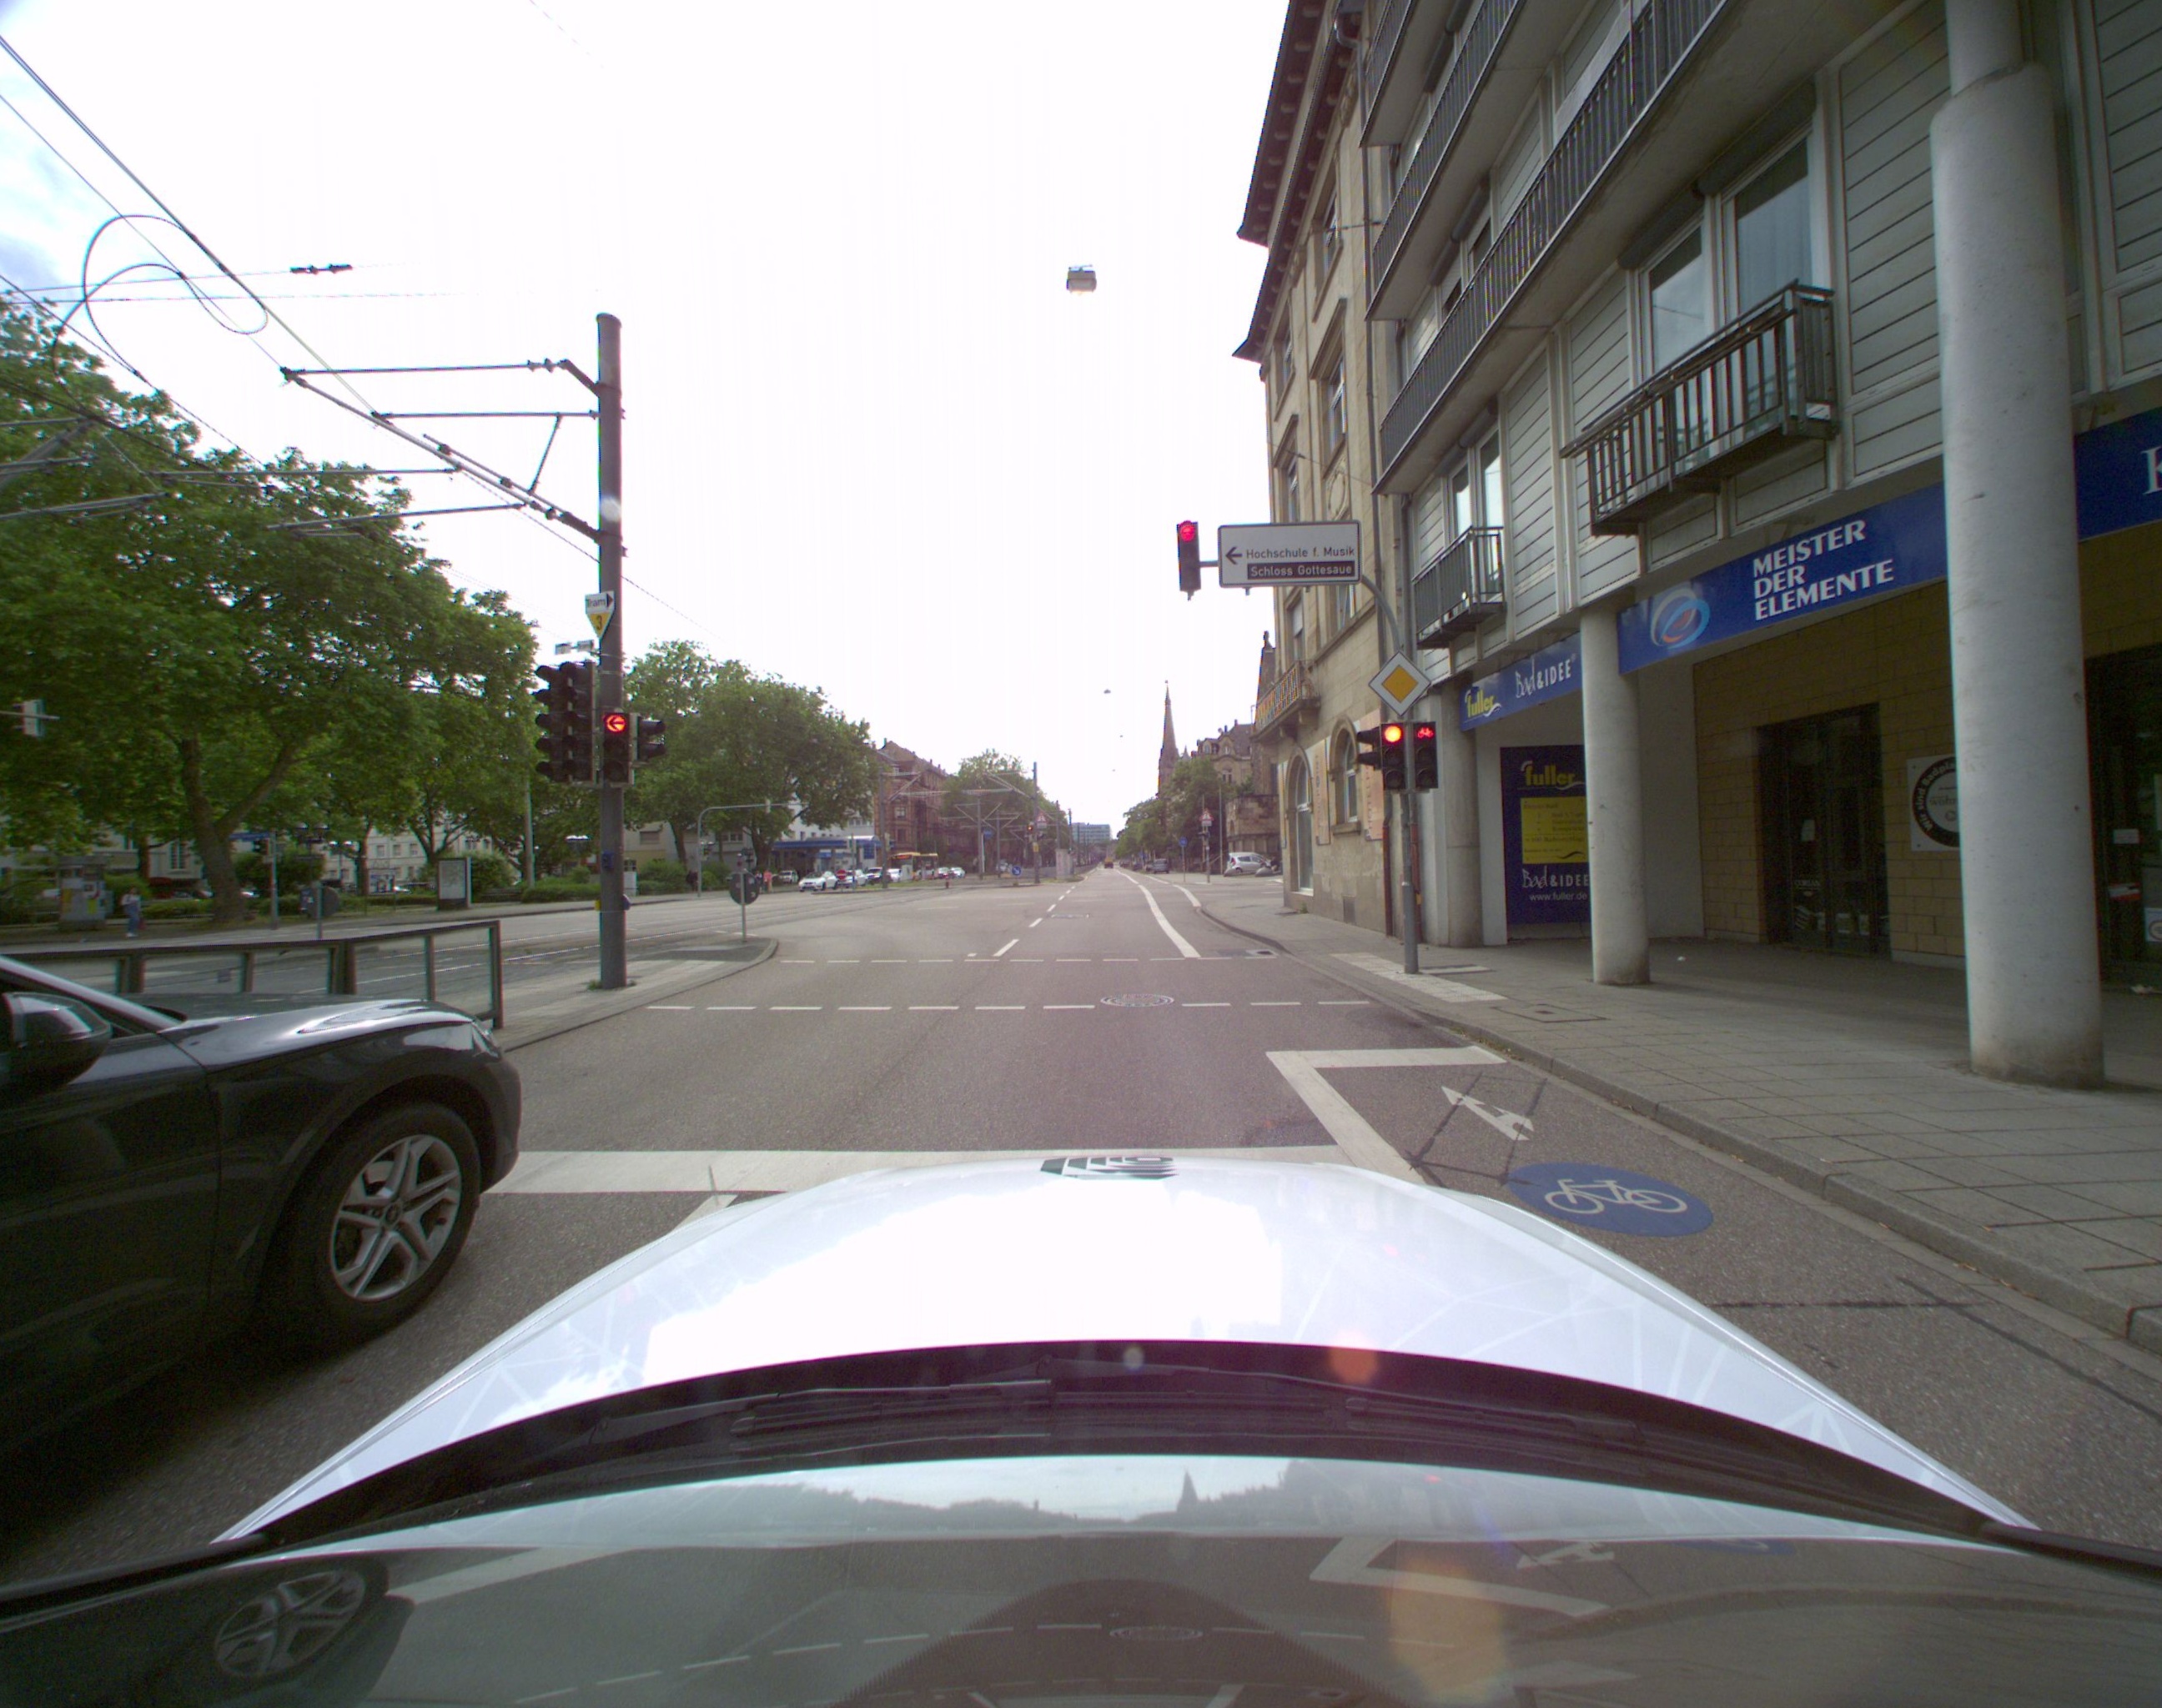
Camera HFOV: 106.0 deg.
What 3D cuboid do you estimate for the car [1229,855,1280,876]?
[{"bbox_3d":[13.745,0.911,64.779,3.699,1.563,2.001,0,-1,2],"label":"car"}]

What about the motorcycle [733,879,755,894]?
[{"bbox_3d":[-22.741,2.181,54.993,0.604,0.928,1.953,-2,-1,2],"label":"motorcycle"}]

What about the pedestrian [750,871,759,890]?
[{"bbox_3d":[-26.314,2.121,65.646,0.474,1.459,0.426,-2,-1,1],"label":"pedestrian"}]

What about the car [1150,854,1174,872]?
[{"bbox_3d":[8.969,0.993,89.963,1.979,1.855,4.042,-1,-1,14],"label":"car"}]

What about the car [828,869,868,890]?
[{"bbox_3d":[-18.848,2.059,66.087,1.986,1.594,4.001,0,-1,2],"label":"car"}]

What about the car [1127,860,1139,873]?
[{"bbox_3d":[8.685,2.059,135.990,1.986,2.014,4.001,0,-1,2],"label":"car"}]

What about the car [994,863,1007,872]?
[{"bbox_3d":[-14.797,2.450,149.912,1.986,1.610,4.001,0,-1,2],"label":"car"}]

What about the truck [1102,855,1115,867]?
[{"bbox_3d":[7.097,1.811,210.763,3.042,2.769,9.826,-2,0,4],"label":"truck"}]

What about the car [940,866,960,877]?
[{"bbox_3d":[-16.537,2.195,102.788,1.649,1.321,3.641,0,-1,3],"label":"car"}]

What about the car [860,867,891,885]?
[{"bbox_3d":[-18.334,1.932,72.731,1.649,1.478,3.641,0,-1,3],"label":"car"}]

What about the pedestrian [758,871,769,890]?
[{"bbox_3d":[-25.666,2.138,65.909,0.645,1.479,0.557,-2,-1,1],"label":"pedestrian"}]

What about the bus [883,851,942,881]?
[{"bbox_3d":[-18.304,1.303,89.729,3.217,3.035,12.323,0,0,4],"label":"bus"}]

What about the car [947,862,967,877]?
[{"bbox_3d":[-16.753,2.066,110.200,1.986,2.014,4.001,0,-1,2],"label":"car"}]

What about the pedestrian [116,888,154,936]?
[{"bbox_3d":[-30.983,1.883,26.670,0.674,1.510,0.661,-2,-1,28],"label":"pedestrian"}]

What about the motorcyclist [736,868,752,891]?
[{"bbox_3d":[-22.744,1.704,54.940,0.617,1.520,0.874,-1,-1,2],"label":"motorcyclist"}]

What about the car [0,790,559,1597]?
[{"bbox_3d":[-3.074,0.691,1.241,1.727,1.637,4.228,0,-1,2],"label":"car"}]

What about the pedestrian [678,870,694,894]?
[{"bbox_3d":[-28.293,2.006,58.277,0.858,1.713,0.695,-2,-1,38],"label":"pedestrian"}]

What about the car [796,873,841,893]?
[{"bbox_3d":[-19.169,2.079,59.557,1.739,1.321,4.079,0,0,3],"label":"car"}]

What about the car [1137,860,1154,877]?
[{"bbox_3d":[7.887,1.703,99.615,1.985,2.014,4.004,0,-1,4],"label":"car"}]

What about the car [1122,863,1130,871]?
[{"bbox_3d":[11.909,3.380,216.798,1.986,2.014,4.001,0,-1,2],"label":"car"}]

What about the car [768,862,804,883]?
[{"bbox_3d":[-29.609,1.811,81.793,1.986,2.014,4.001,-2,0,2],"label":"car"}]

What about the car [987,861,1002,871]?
[{"bbox_3d":[-15.056,2.068,142.103,1.986,1.610,4.001,0,-1,2],"label":"car"}]

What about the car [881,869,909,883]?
[{"bbox_3d":[-18.163,2.104,79.652,1.649,1.321,3.641,0,-1,3],"label":"car"}]

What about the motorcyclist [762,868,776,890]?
[{"bbox_3d":[-21.425,1.716,55.919,0.617,1.520,0.874,-1,-1,2],"label":"motorcyclist"}]

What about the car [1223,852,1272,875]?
[{"bbox_3d":[13.922,0.794,68.249,3.699,1.855,2.001,0,-1,2],"label":"car"}]

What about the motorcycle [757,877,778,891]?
[{"bbox_3d":[-21.429,2.033,55.659,0.604,0.928,1.953,-2,-1,2],"label":"motorcycle"}]

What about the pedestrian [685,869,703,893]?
[{"bbox_3d":[-27.908,1.934,58.695,0.863,1.713,0.881,-2,-1,43],"label":"pedestrian"}]
